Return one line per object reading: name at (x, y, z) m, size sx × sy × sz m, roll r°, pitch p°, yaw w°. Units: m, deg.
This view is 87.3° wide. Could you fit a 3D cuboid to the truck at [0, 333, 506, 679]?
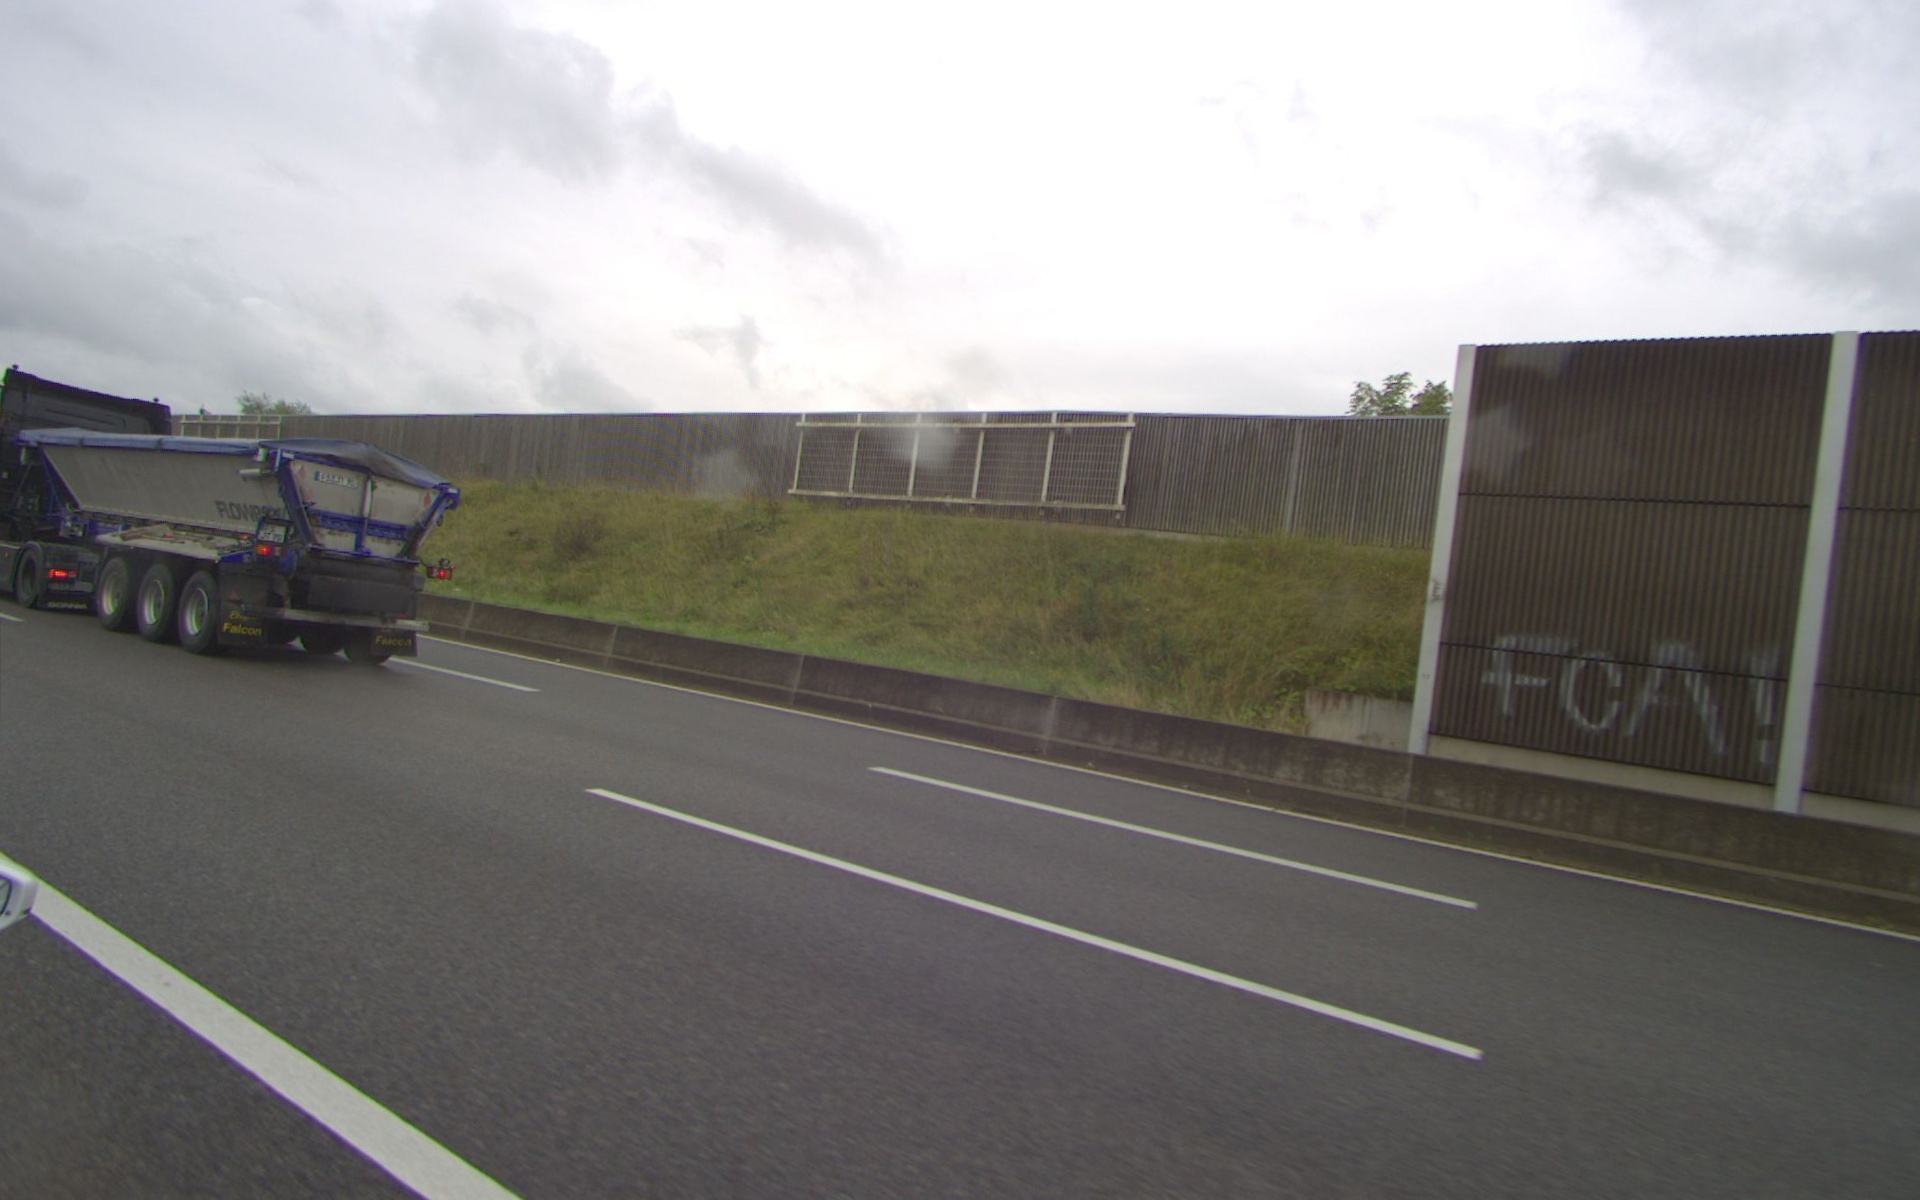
truck at (-12.734, -1.596, 16.269) m, size 12.501 × 3.995 × 2.819 m, roll 6°, pitch -2°, yaw 31°
